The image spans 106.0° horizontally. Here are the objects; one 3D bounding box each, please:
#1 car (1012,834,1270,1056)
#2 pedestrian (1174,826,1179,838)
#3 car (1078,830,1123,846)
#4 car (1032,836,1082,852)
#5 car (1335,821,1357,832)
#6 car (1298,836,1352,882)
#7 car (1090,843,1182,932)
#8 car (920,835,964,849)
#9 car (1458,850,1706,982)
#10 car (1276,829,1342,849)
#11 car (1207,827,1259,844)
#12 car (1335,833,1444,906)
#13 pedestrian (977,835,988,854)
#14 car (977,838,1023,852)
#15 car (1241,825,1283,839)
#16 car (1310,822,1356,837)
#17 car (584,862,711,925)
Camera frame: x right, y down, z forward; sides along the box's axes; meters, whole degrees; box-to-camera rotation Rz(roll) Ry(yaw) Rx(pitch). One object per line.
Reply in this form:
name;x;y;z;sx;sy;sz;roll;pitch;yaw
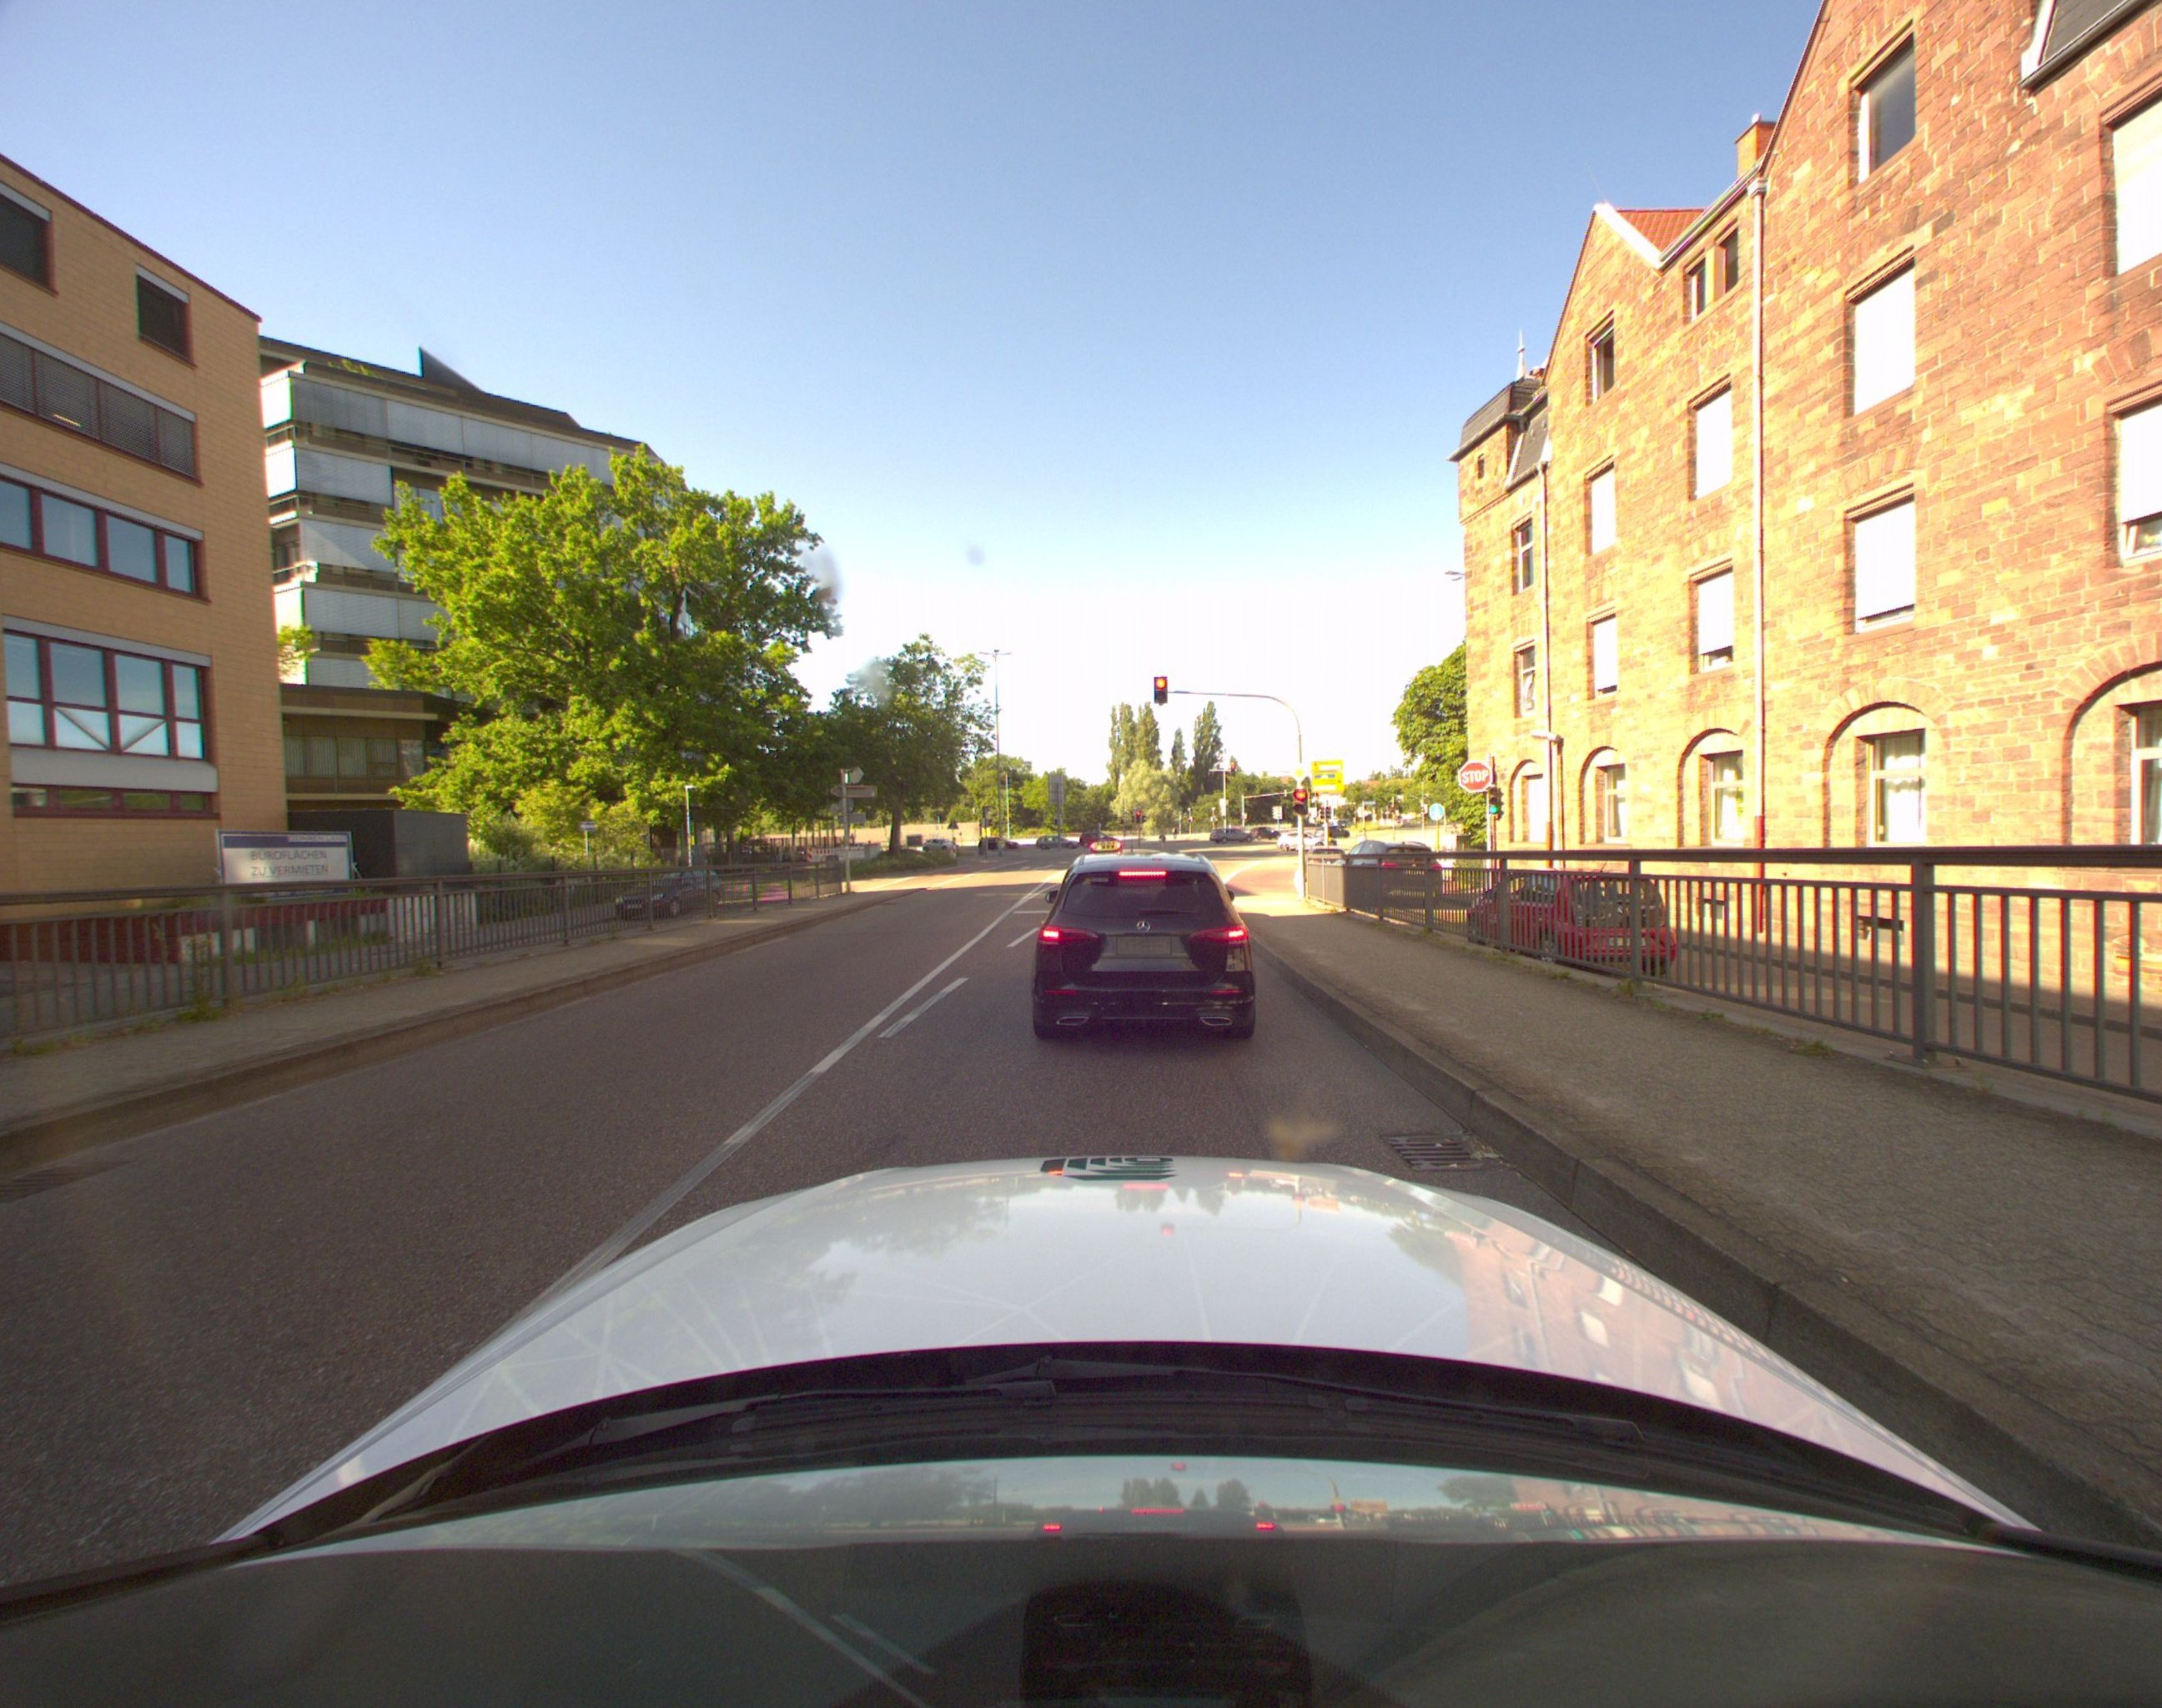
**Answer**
car;0.503;0.649;7.949;1.871;1.613;4.002;0;1;2
pedestrian;12.119;-2.807;103.395;0.446;1.585;0.504;-2;1;42
car;2.021;-1.689;85.143;4.516;1.455;2.003;-3;2;4
car;-2.349;-1.007;80.986;4.549;1.294;2.007;-2;2;11
car;38.784;-4.033;119.172;1.860;1.578;4.026;-1;2;38
car;9.738;0.151;32.750;1.710;1.603;4.313;0;3;12
car;1.139;0.605;16.826;1.632;1.529;3.478;-3;1;4
car;-14.707;-1.274;86.147;4.258;1.365;2.013;-1;3;33
car;7.386;0.811;12.437;1.715;1.521;3.488;-2;3;2
car;16.730;-1.112;59.786;4.177;1.294;2.013;-1;3;39
car;15.402;-1.900;82.709;4.816;1.441;1.990;-3;2;-16
car;8.561;0.350;22.974;1.714;1.811;4.303;0;2;4
pedestrian;-8.292;-0.795;68.390;0.700;1.525;0.746;-1;1;12
car;-8.732;-0.922;87.475;4.536;1.294;1.898;-1;3;28
car;19.669;-2.395;88.382;4.075;1.357;1.777;-3;2;-18
car;26.808;-2.601;86.770;4.290;1.441;1.990;-3;2;-16
car;-13.948;1.204;26.501;1.844;1.692;4.002;-2;2;2
